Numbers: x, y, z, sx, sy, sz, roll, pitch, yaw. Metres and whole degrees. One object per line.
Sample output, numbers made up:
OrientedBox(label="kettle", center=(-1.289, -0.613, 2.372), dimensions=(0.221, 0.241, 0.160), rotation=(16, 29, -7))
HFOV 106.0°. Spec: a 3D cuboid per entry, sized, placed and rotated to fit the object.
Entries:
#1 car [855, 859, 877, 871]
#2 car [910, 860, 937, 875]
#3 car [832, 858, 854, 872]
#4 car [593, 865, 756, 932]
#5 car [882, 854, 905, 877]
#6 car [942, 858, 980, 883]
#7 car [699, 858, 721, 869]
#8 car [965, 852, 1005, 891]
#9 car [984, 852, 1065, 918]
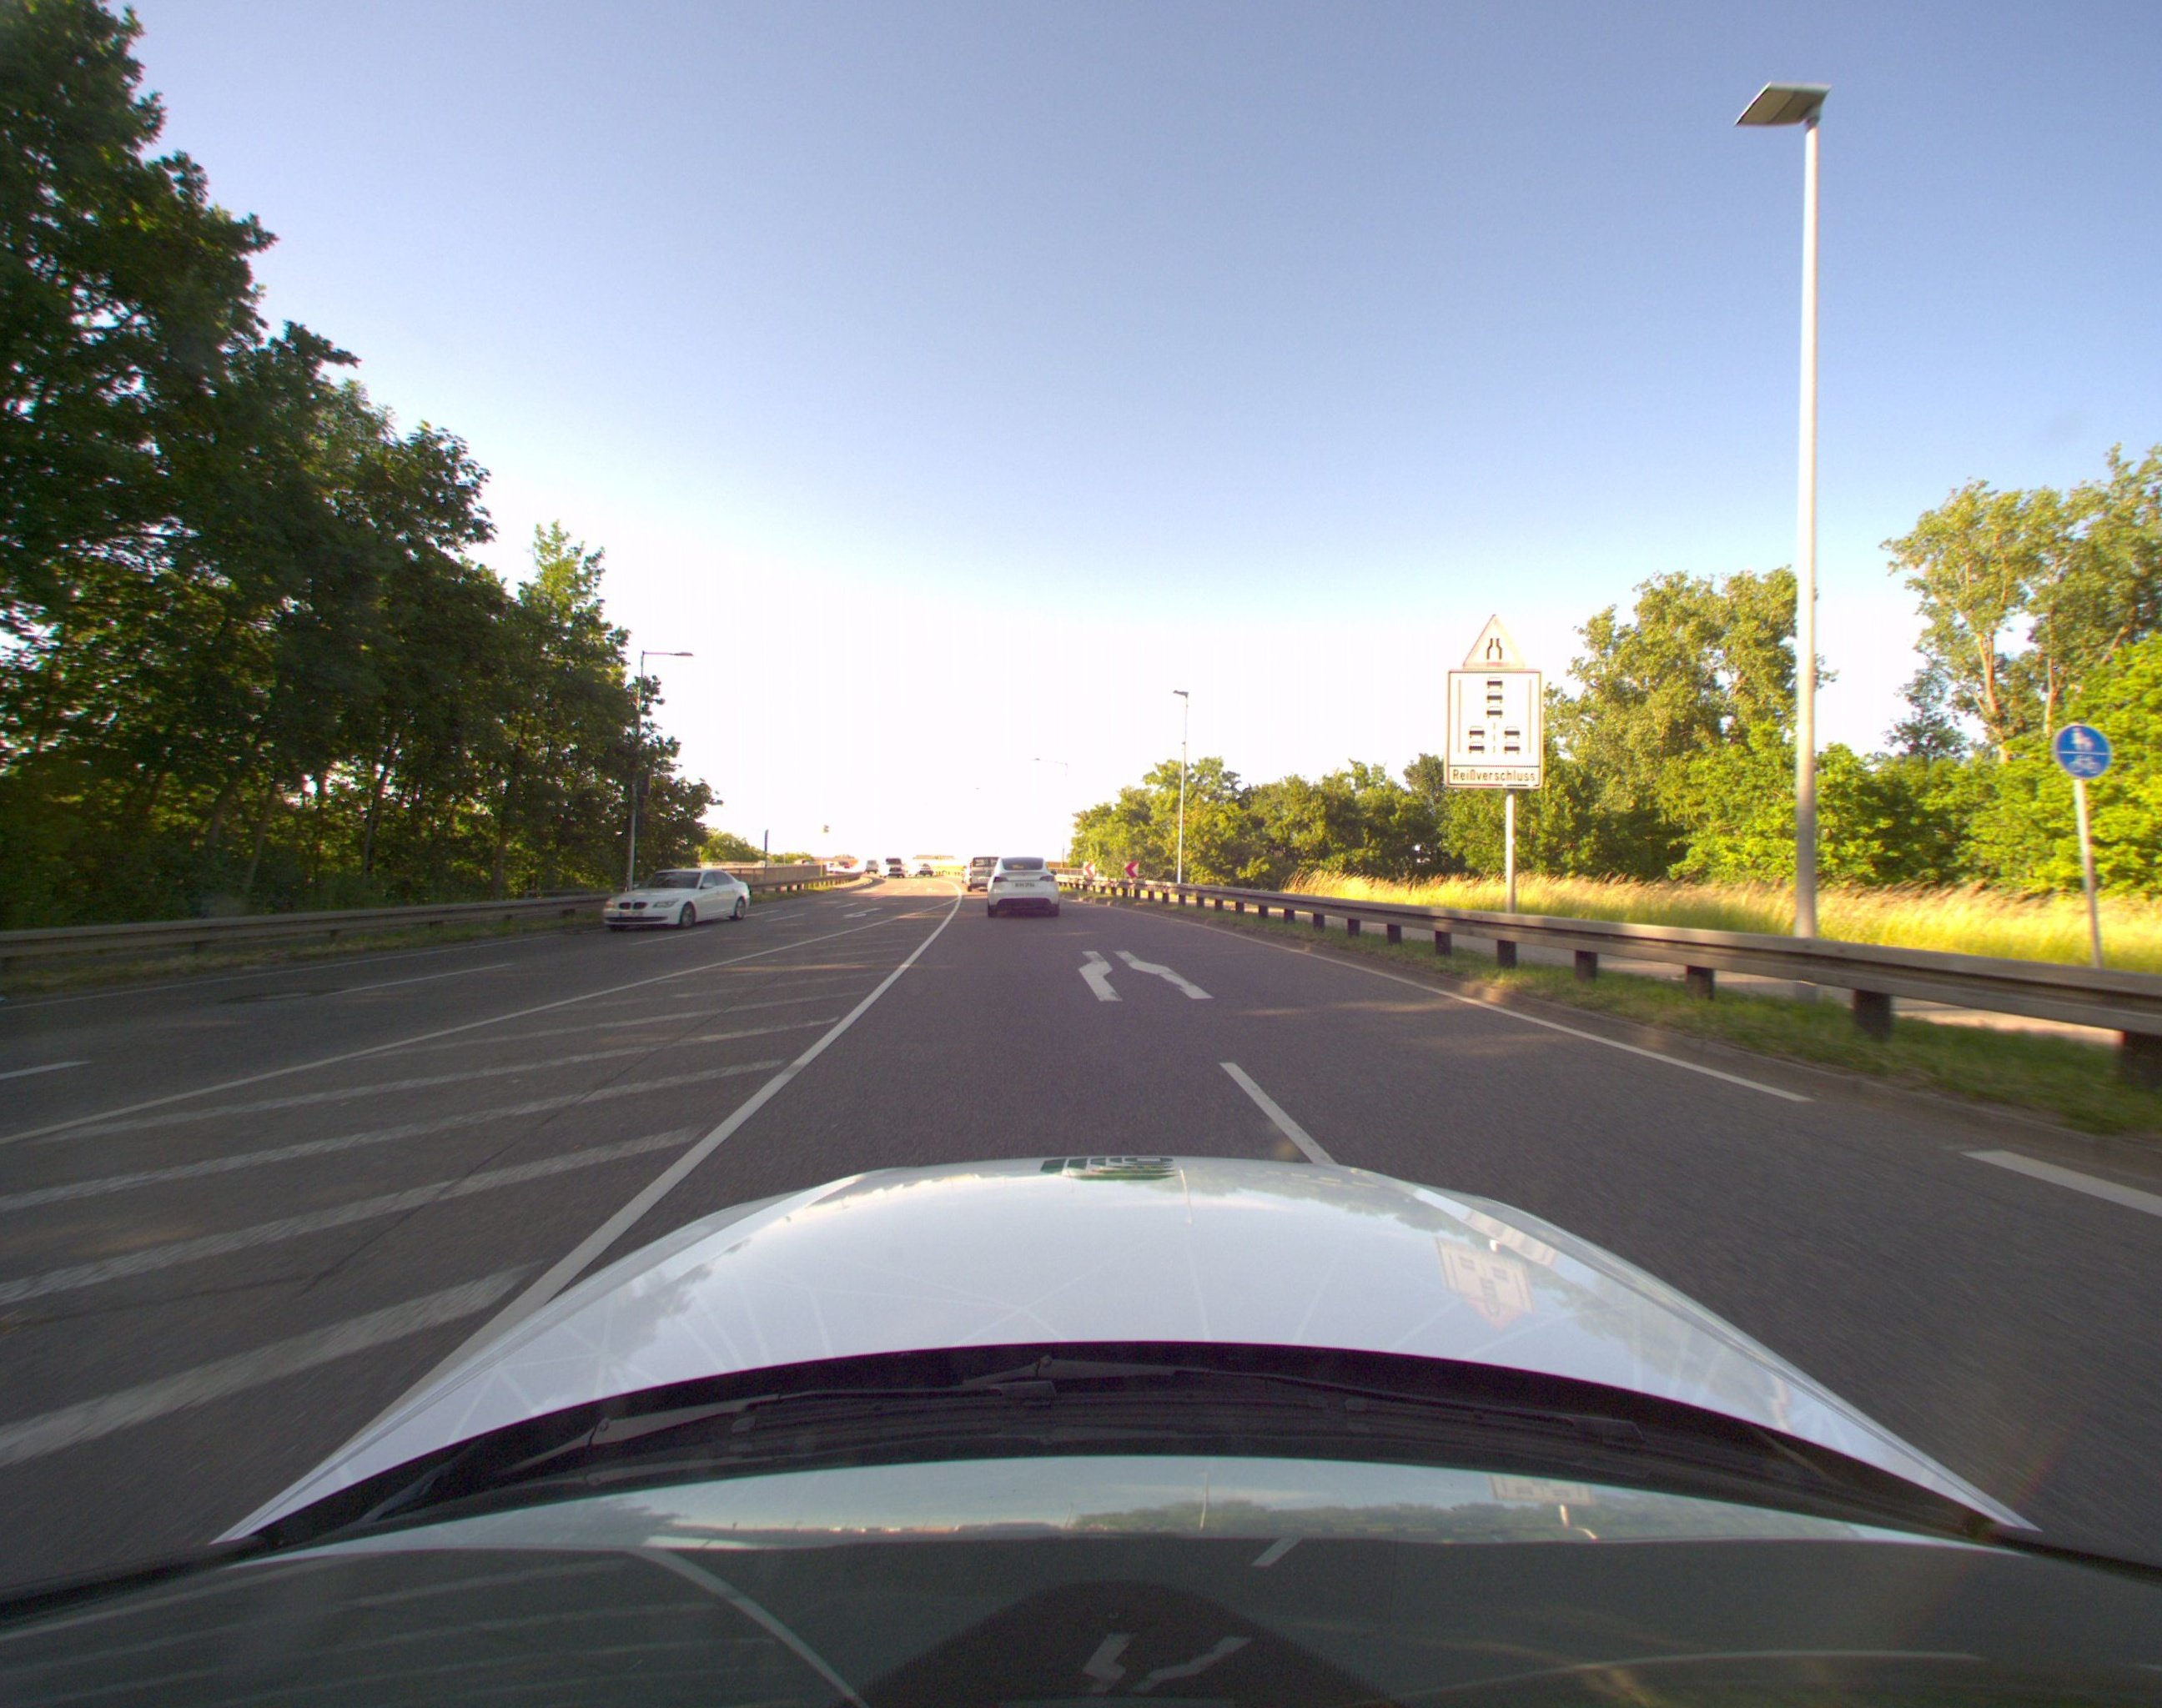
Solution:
OrientedBox(label="car", center=(-27.853, 1.391, 105.353), dimensions=(1.847, 1.556, 3.855), rotation=(0, -1, -30))
OrientedBox(label="car", center=(-16.727, 1.461, 86.218), dimensions=(2.002, 1.539, 3.969), rotation=(0, -1, -23))
OrientedBox(label="car", center=(-29.665, 1.342, 101.373), dimensions=(1.814, 1.638, 3.963), rotation=(0, -1, -28))
OrientedBox(label="car", center=(-10.144, 1.033, 20.802), dimensions=(1.841, 1.487, 4.628), rotation=(0, -1, 0))
OrientedBox(label="car", center=(-17.830, 1.099, 77.226), dimensions=(1.952, 2.112, 5.243), rotation=(0, 0, -15))
OrientedBox(label="car", center=(-8.357, 1.125, 56.474), dimensions=(1.974, 1.638, 3.975), rotation=(-1, 0, -18))
OrientedBox(label="car", center=(-67.030, 1.694, 147.083), dimensions=(3.948, 1.950, 1.975), rotation=(-1, -1, 35))
OrientedBox(label="car", center=(-5.056, 0.877, 42.650), dimensions=(2.004, 1.940, 4.455), rotation=(0, -1, -8))
OrientedBox(label="car", center=(-1.678, 0.799, 22.868), dimensions=(1.984, 1.638, 4.051), rotation=(-1, 0, -8))
